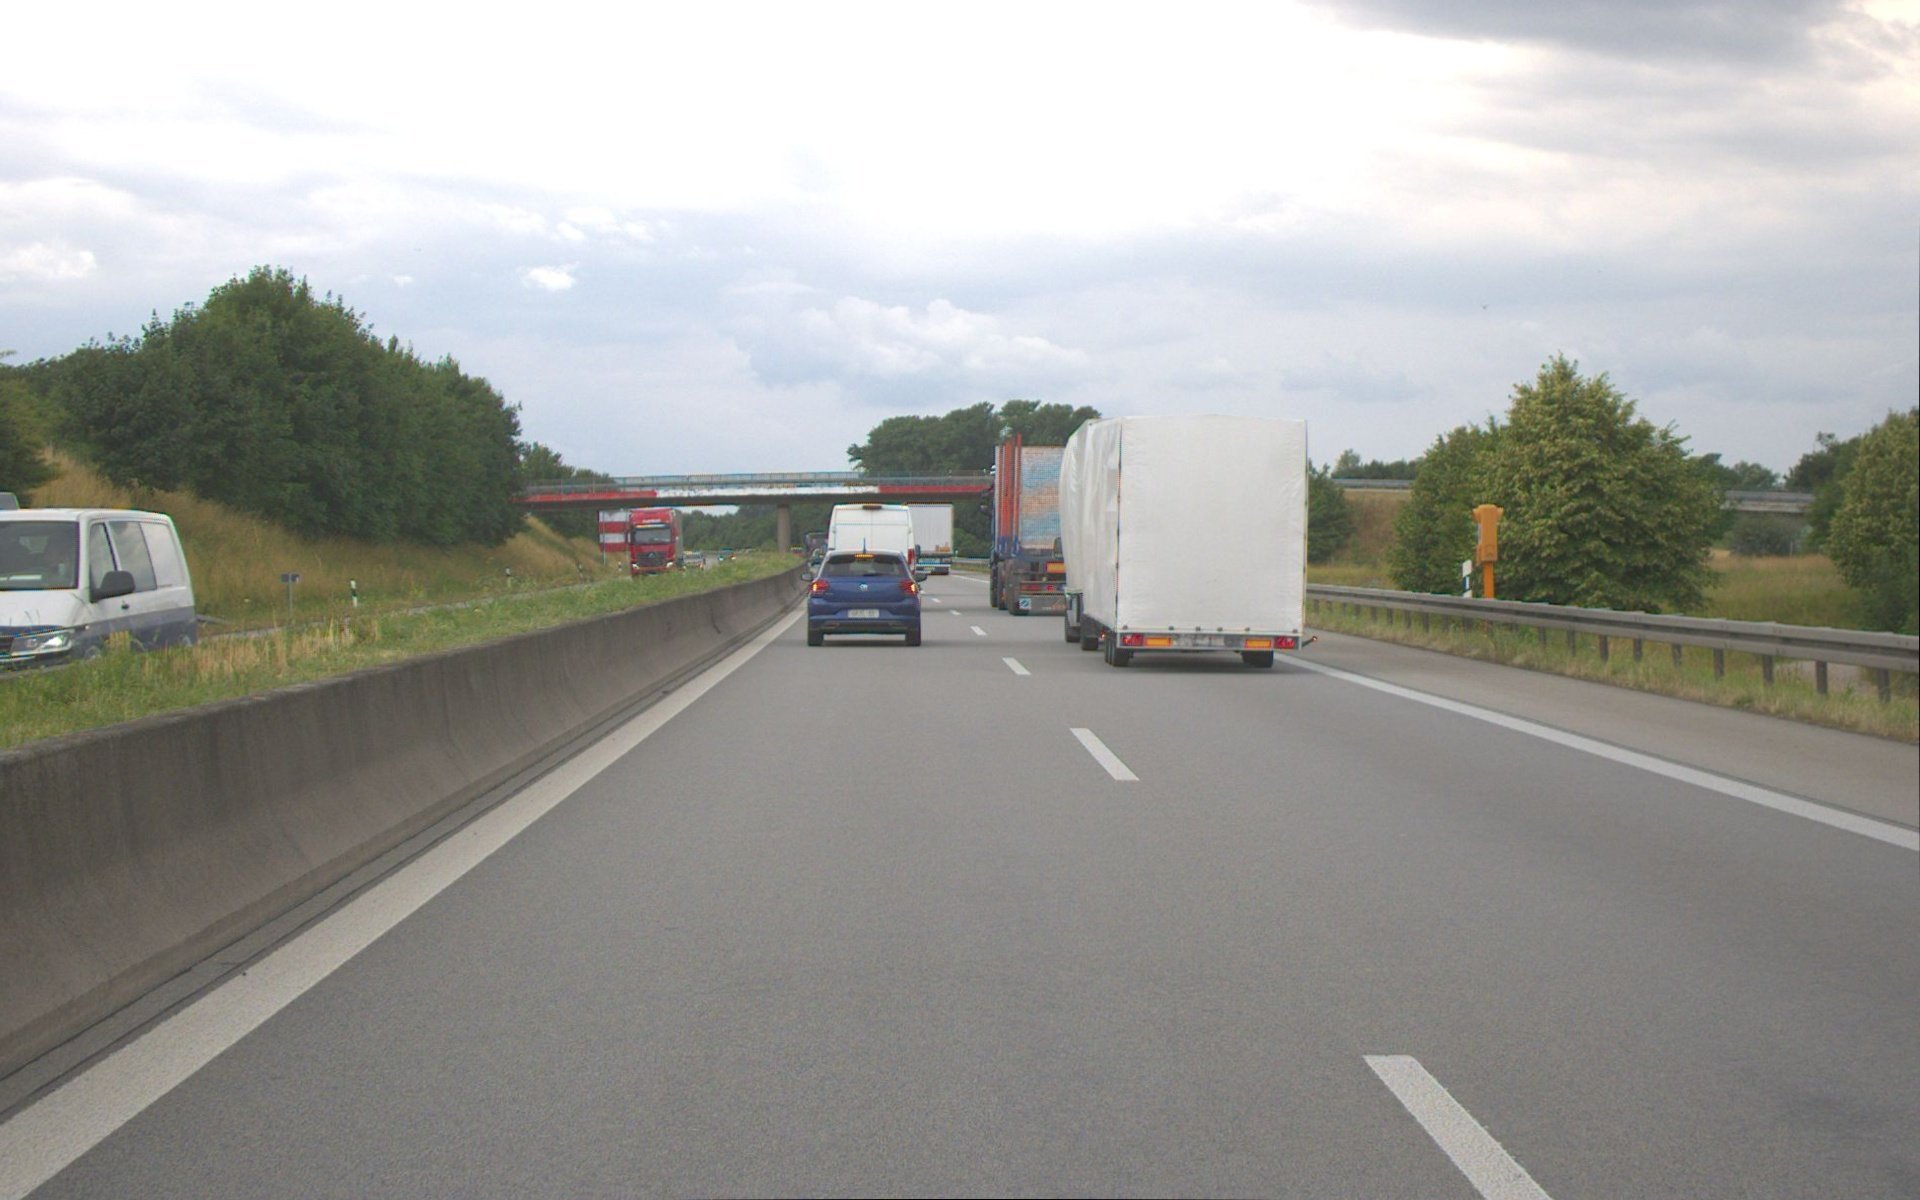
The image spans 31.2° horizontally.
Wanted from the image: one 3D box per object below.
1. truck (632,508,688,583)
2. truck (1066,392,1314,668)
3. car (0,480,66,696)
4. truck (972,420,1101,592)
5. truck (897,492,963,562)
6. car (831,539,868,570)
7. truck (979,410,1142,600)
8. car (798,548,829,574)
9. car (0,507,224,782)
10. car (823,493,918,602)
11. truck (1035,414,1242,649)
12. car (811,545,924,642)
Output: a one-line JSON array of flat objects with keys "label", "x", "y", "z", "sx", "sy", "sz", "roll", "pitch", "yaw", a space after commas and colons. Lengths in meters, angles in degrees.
[{"label": "truck", "x": -16.834, "y": -3.090, "z": 193.327, "sx": 2.706, "sy": 4.074, "sz": 5.165, "roll": -2, "pitch": 1, "yaw": -2}, {"label": "truck", "x": 2.796, "y": -0.873, "z": 43.674, "sx": 2.415, "sy": 3.211, "sz": 7.144, "roll": 0, "pitch": 1, "yaw": -2}, {"label": "car", "x": -11.983, "y": -0.086, "z": 38.551, "sx": 2.169, "sy": 2.456, "sz": 6.724, "roll": -2, "pitch": 1, "yaw": -1}, {"label": "truck", "x": 1.822, "y": -2.298, "z": 84.328, "sx": 2.673, "sy": 4.032, "sz": 5.513, "roll": -1, "pitch": 1, "yaw": -3}, {"label": "truck", "x": -1.716, "y": -4.063, "z": 191.980, "sx": 3.110, "sy": 3.677, "sz": 9.324, "roll": -2, "pitch": 1, "yaw": -3}, {"label": "car", "x": -6.039, "y": -2.476, "z": 187.764, "sx": 1.935, "sy": 1.638, "sz": 4.904, "roll": 0, "pitch": 1, "yaw": -3}, {"label": "truck", "x": 2.176, "y": -2.162, "z": 78.828, "sx": 2.673, "sy": 4.032, "sz": 11.109, "roll": -1, "pitch": 1, "yaw": -4}, {"label": "car", "x": -9.465, "y": -2.519, "z": 222.574, "sx": 1.993, "sy": 1.678, "sz": 4.001, "roll": 0, "pitch": 1, "yaw": -2}, {"label": "car", "x": -7.403, "y": 0.267, "z": 27.592, "sx": 1.979, "sy": 2.007, "sz": 5.130, "roll": 0, "pitch": 1, "yaw": -1}, {"label": "car", "x": -2.159, "y": -1.242, "z": 81.552, "sx": 2.130, "sy": 2.474, "sz": 5.840, "roll": 0, "pitch": 1, "yaw": -2}, {"label": "truck", "x": 2.535, "y": -1.000, "z": 50.865, "sx": 2.429, "sy": 3.232, "sz": 7.248, "roll": 0, "pitch": 1, "yaw": -2}, {"label": "car", "x": -1.378, "y": -0.126, "z": 52.307, "sx": 1.663, "sy": 1.402, "sz": 3.649, "roll": 0, "pitch": 1, "yaw": -1}]
